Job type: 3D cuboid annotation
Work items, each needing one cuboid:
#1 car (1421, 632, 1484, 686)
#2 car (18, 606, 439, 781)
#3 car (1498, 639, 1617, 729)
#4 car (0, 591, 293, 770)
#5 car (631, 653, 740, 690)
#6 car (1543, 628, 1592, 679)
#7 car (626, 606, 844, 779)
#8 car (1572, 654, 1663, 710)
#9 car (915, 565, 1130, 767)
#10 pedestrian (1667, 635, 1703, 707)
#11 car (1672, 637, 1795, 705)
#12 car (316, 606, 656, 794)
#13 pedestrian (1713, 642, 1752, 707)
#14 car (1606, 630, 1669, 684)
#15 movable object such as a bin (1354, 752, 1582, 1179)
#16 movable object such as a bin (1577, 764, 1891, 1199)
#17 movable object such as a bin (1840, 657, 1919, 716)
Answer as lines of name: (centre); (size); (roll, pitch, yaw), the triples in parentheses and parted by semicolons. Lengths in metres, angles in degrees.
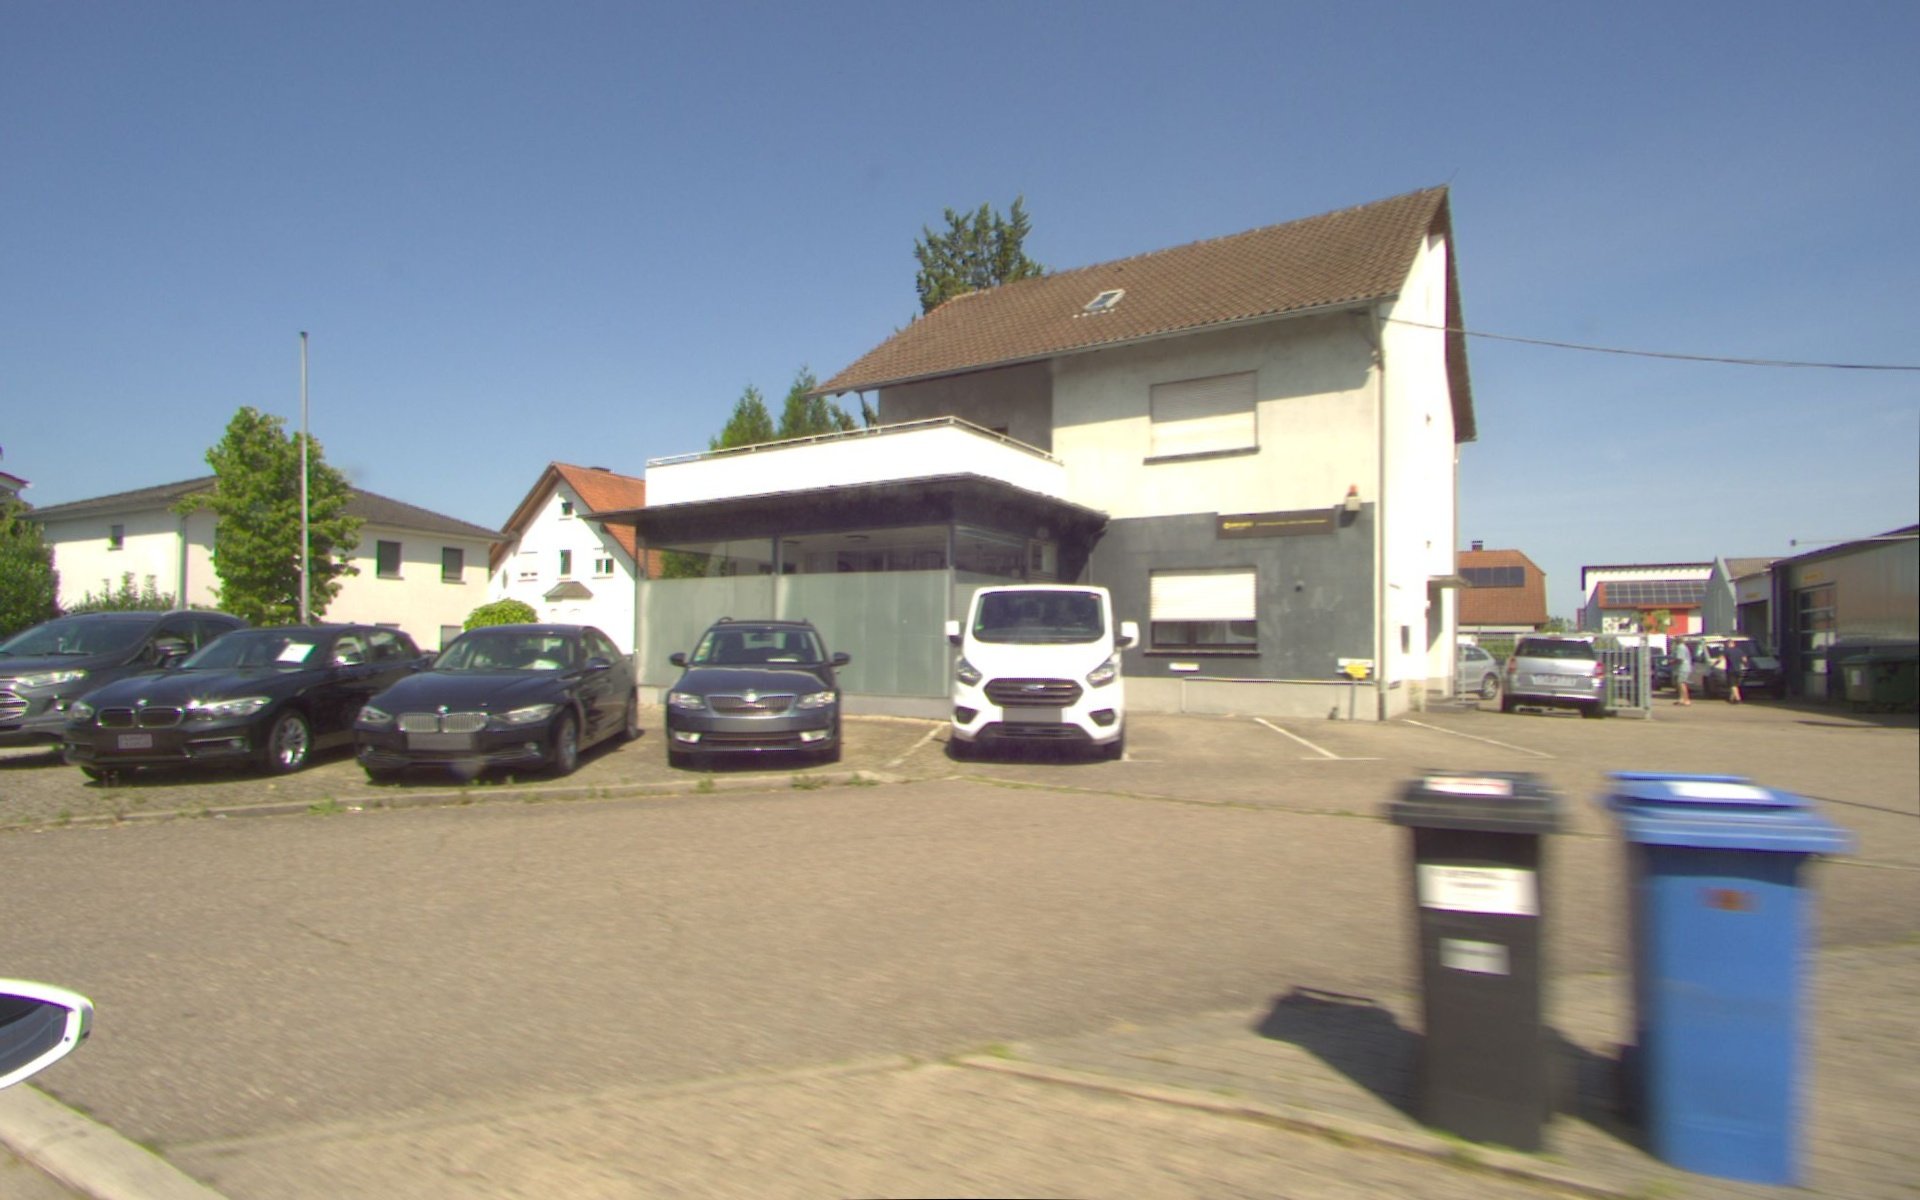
car: (29.033, 3.444, 58.909); (2.730, 2.960, 7.334); (-1, -3, 31)
car: (-7.194, 0.890, 10.430); (1.717, 1.465, 3.875); (1, -3, -4)
car: (11.527, 1.597, 19.469); (1.784, 1.498, 4.060); (1, -3, 30)
car: (-9.694, 0.845, 11.367); (1.796, 1.674, 4.115); (1, -3, -6)
car: (-11.208, 2.905, 40.829); (4.320, 1.446, 1.692); (-2, -4, 29)
car: (34.356, 3.047, 56.734); (1.763, 2.734, 5.178); (-1, -3, 25)
car: (-2.366, 0.959, 11.386); (1.947, 1.570, 4.318); (1, -3, -8)
car: (17.701, 2.251, 27.109); (1.784, 1.392, 3.620); (-1, -6, 29)
car: (0.954, 0.791, 12.857); (2.189, 2.038, 5.289); (0, -3, 7)
pedestrian: (19.419, 1.901, 26.826); (0.599, 1.889, 0.503); (0, -2, 17)
car: (23.901, 2.160, 31.172); (1.903, 1.927, 5.173); (-1, -3, 25)
car: (-4.663, 0.923, 10.645); (1.946, 1.585, 4.240); (1, -2, -6)
pedestrian: (21.415, 2.061, 27.774); (0.635, 1.769, 0.650); (0, -2, 18)
car: (36.333, 3.074, 53.823); (1.991, 2.734, 5.178); (-1, -3, 25)
movable object such as a bin: (1.379, 0.938, 2.786); (0.506, 0.948, 0.558); (0, -2, 23)
movable object such as a bin: (1.943, 0.944, 2.589); (0.506, 0.951, 0.558); (0, -2, 23)
movable object such as a bin: (21.547, 1.991, 23.337); (1.257, 1.311, 1.171); (-1, -3, 26)
